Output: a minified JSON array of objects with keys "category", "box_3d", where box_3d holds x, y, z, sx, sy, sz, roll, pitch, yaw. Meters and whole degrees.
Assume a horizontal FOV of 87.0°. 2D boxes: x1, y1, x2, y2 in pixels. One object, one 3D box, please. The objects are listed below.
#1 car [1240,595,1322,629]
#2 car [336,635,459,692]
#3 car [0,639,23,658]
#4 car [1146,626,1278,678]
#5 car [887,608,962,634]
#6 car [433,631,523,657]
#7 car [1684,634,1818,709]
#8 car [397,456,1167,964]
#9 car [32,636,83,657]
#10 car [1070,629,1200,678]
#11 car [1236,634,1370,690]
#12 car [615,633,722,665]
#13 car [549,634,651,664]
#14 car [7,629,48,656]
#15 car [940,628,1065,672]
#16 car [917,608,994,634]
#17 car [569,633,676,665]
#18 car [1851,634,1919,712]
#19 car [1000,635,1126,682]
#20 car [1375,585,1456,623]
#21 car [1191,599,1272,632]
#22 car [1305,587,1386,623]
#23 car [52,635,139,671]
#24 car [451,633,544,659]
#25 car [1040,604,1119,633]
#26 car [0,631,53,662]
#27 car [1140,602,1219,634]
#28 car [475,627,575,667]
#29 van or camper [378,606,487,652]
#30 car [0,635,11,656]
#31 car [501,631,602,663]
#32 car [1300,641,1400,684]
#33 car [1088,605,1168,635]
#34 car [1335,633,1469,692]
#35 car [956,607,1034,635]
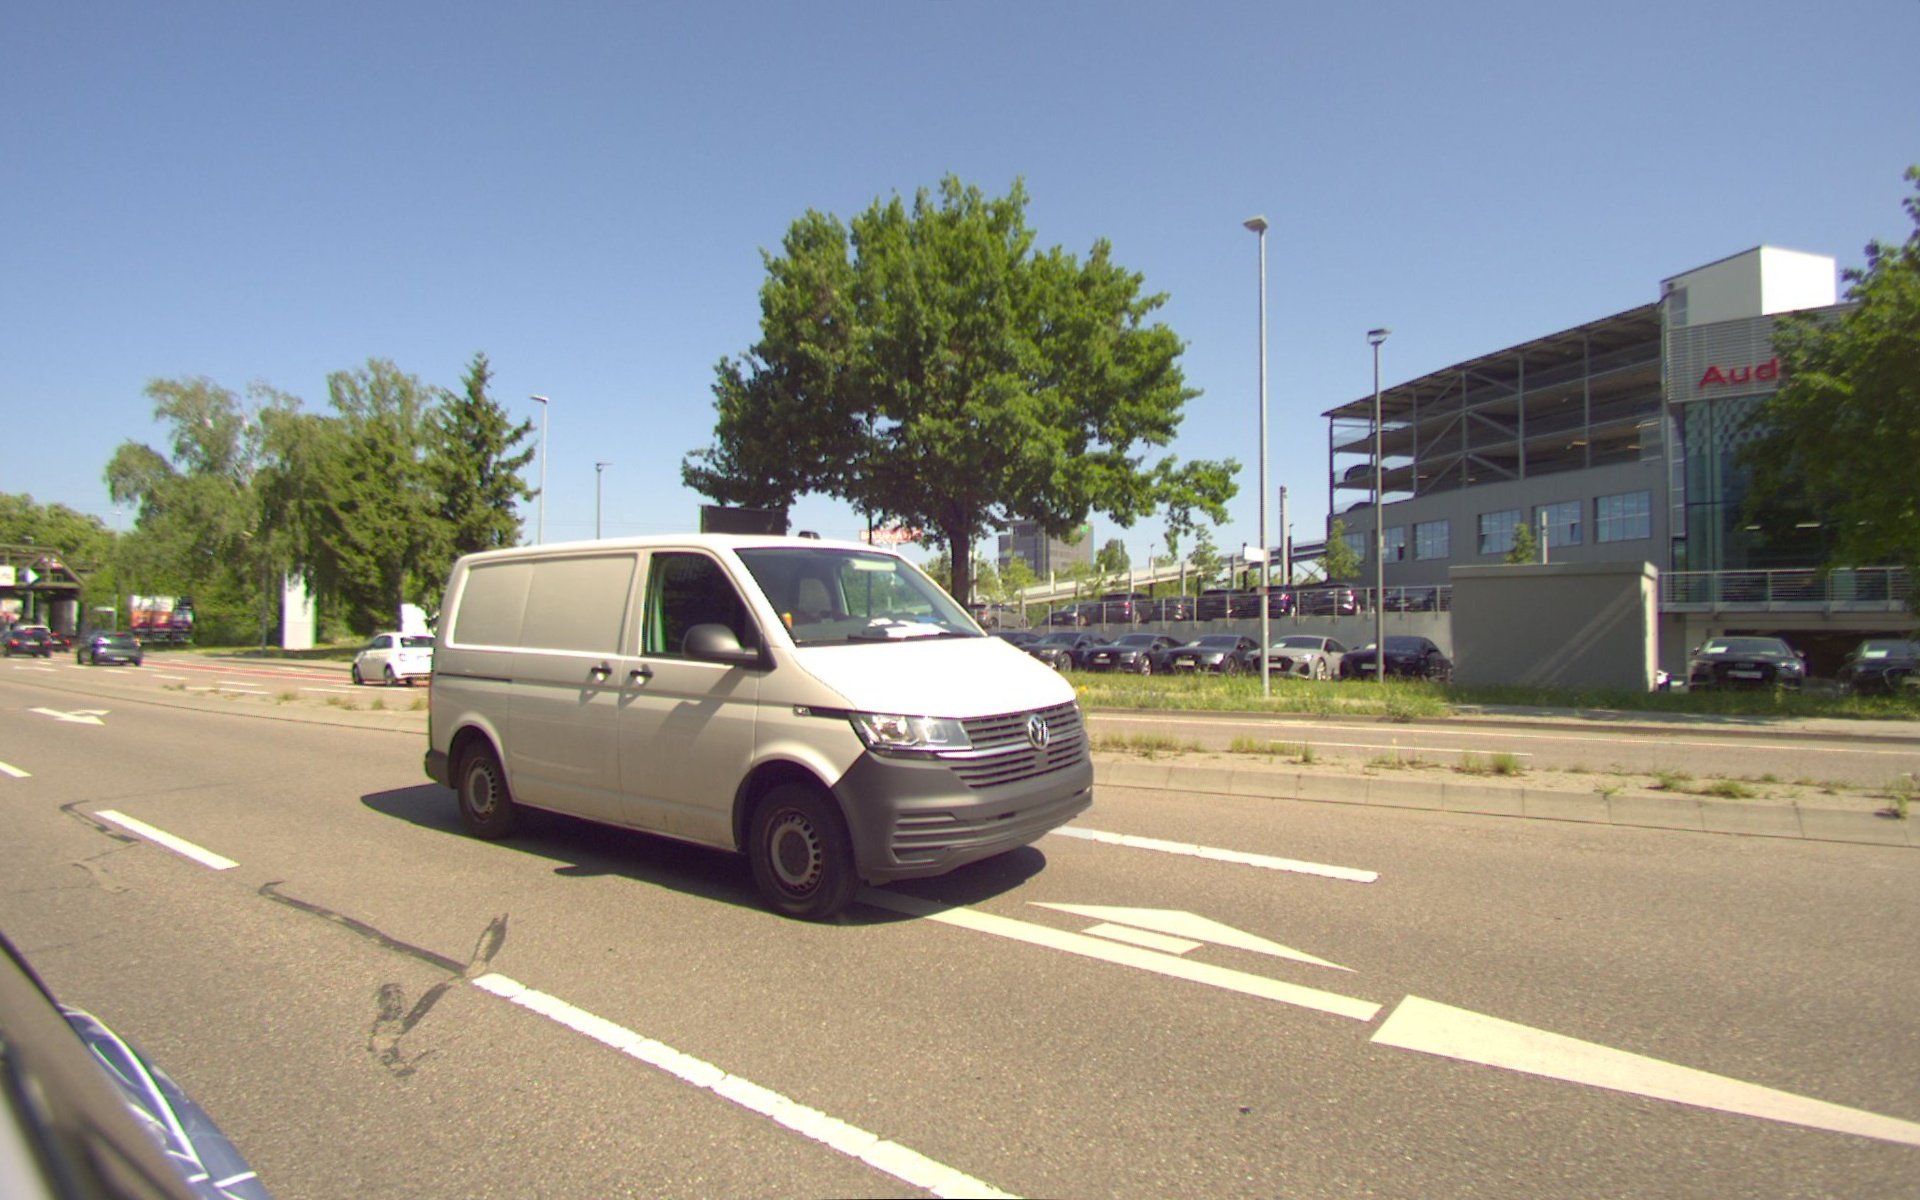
[{"category":"car","box_3d":[13.925,0.559,43.818,1.952,1.361,4.223,-2,-3,39]},{"category":"car","box_3d":[-15.690,1.753,28.187,3.543,1.475,1.638,-2,-4,36]},{"category":"car","box_3d":[-78.251,3.977,82.770,4.173,1.506,1.751,-3,-6,39]},{"category":"car","box_3d":[7.198,1.456,28.651,1.953,1.361,4.221,-2,-3,41]},{"category":"car","box_3d":[-1.952,1.225,57.155,1.952,1.361,4.223,-2,-3,39]},{"category":"car","box_3d":[-26.098,2.360,54.828,1.744,1.364,4.041,-1,-3,44]},{"category":"car","box_3d":[16.370,1.415,20.976,1.998,1.386,3.948,-2,-3,39]},{"category":"car","box_3d":[-1.401,0.522,6.288,4.967,2.009,1.864,-2,-3,38]},{"category":"car","box_3d":[-65.038,3.320,72.897,4.675,1.424,1.974,-2,-3,39]},{"category":"car","box_3d":[5.287,1.581,30.251,1.953,1.361,4.221,-2,-3,41]},{"category":"car","box_3d":[9.230,1.617,27.073,1.953,1.361,4.221,-2,-3,41]},{"category":"car","box_3d":[-13.011,2.173,45.319,1.953,1.361,4.221,-2,-3,41]},{"category":"car","box_3d":[-17.283,2.345,48.759,1.953,1.338,4.221,-2,-3,41]},{"category":"car","box_3d":[-72.465,3.325,78.616,5.347,2.029,1.971,-2,-4,44]},{"category":"car","box_3d":[1.472,1.655,33.680,1.953,1.361,4.221,-2,-3,41]},{"category":"car","box_3d":[-0.208,1.173,55.486,1.952,1.361,4.223,-2,-3,39]},{"category":"car","box_3d":[-15.363,2.203,46.198,1.953,1.392,4.221,-2,-3,41]},{"category":"car","box_3d":[18.559,1.369,19.506,1.863,1.386,3.948,-2,-3,39]},{"category":"car","box_3d":[3.321,1.817,32.063,1.953,1.361,4.221,-2,-3,41]},{"category":"car","box_3d":[18.323,0.194,40.620,1.952,1.361,4.223,-2,-3,39]},{"category":"car","box_3d":[12.182,0.713,45.246,1.952,1.361,4.223,-2,-3,39]},{"category":"car","box_3d":[16.241,0.242,42.526,1.952,1.361,4.223,-2,-3,39]},{"category":"car","box_3d":[-35.782,2.190,41.855,3.991,1.425,1.767,-1,-5,36]},{"category":"car","box_3d":[-24.141,2.404,52.936,1.743,1.303,4.044,-2,-3,41]},{"category":"car","box_3d":[5.954,0.945,50.089,1.952,1.361,4.223,-2,-3,39]},{"category":"car","box_3d":[-48.988,2.415,52.659,4.995,1.474,1.823,-2,-5,39]},{"category":"car","box_3d":[10.344,0.879,47.512,1.952,1.361,4.223,-2,-3,39]},{"category":"car","box_3d":[-22.078,2.378,51.471,1.953,1.899,4.221,-2,-3,41]},{"category":"van or camper","box_3d":[-30.745,1.671,59.127,1.996,2.489,5.329,-3,-2,36]},{"category":"car","box_3d":[-83.695,3.902,87.410,4.283,1.703,1.964,-3,-6,39]},{"category":"car","box_3d":[-20.195,2.309,50.153,1.953,1.515,4.221,-2,-3,41]},{"category":"car","box_3d":[13.456,2.106,34.789,1.952,1.361,4.223,-2,-3,39]},{"category":"car","box_3d":[8.070,0.999,48.484,1.952,1.361,4.223,-2,-3,39]},{"category":"car","box_3d":[11.234,1.523,25.586,1.953,1.361,4.221,-2,-3,41]},{"category":"car","box_3d":[1.901,1.136,53.634,1.952,1.361,4.223,-2,-3,39]}]
